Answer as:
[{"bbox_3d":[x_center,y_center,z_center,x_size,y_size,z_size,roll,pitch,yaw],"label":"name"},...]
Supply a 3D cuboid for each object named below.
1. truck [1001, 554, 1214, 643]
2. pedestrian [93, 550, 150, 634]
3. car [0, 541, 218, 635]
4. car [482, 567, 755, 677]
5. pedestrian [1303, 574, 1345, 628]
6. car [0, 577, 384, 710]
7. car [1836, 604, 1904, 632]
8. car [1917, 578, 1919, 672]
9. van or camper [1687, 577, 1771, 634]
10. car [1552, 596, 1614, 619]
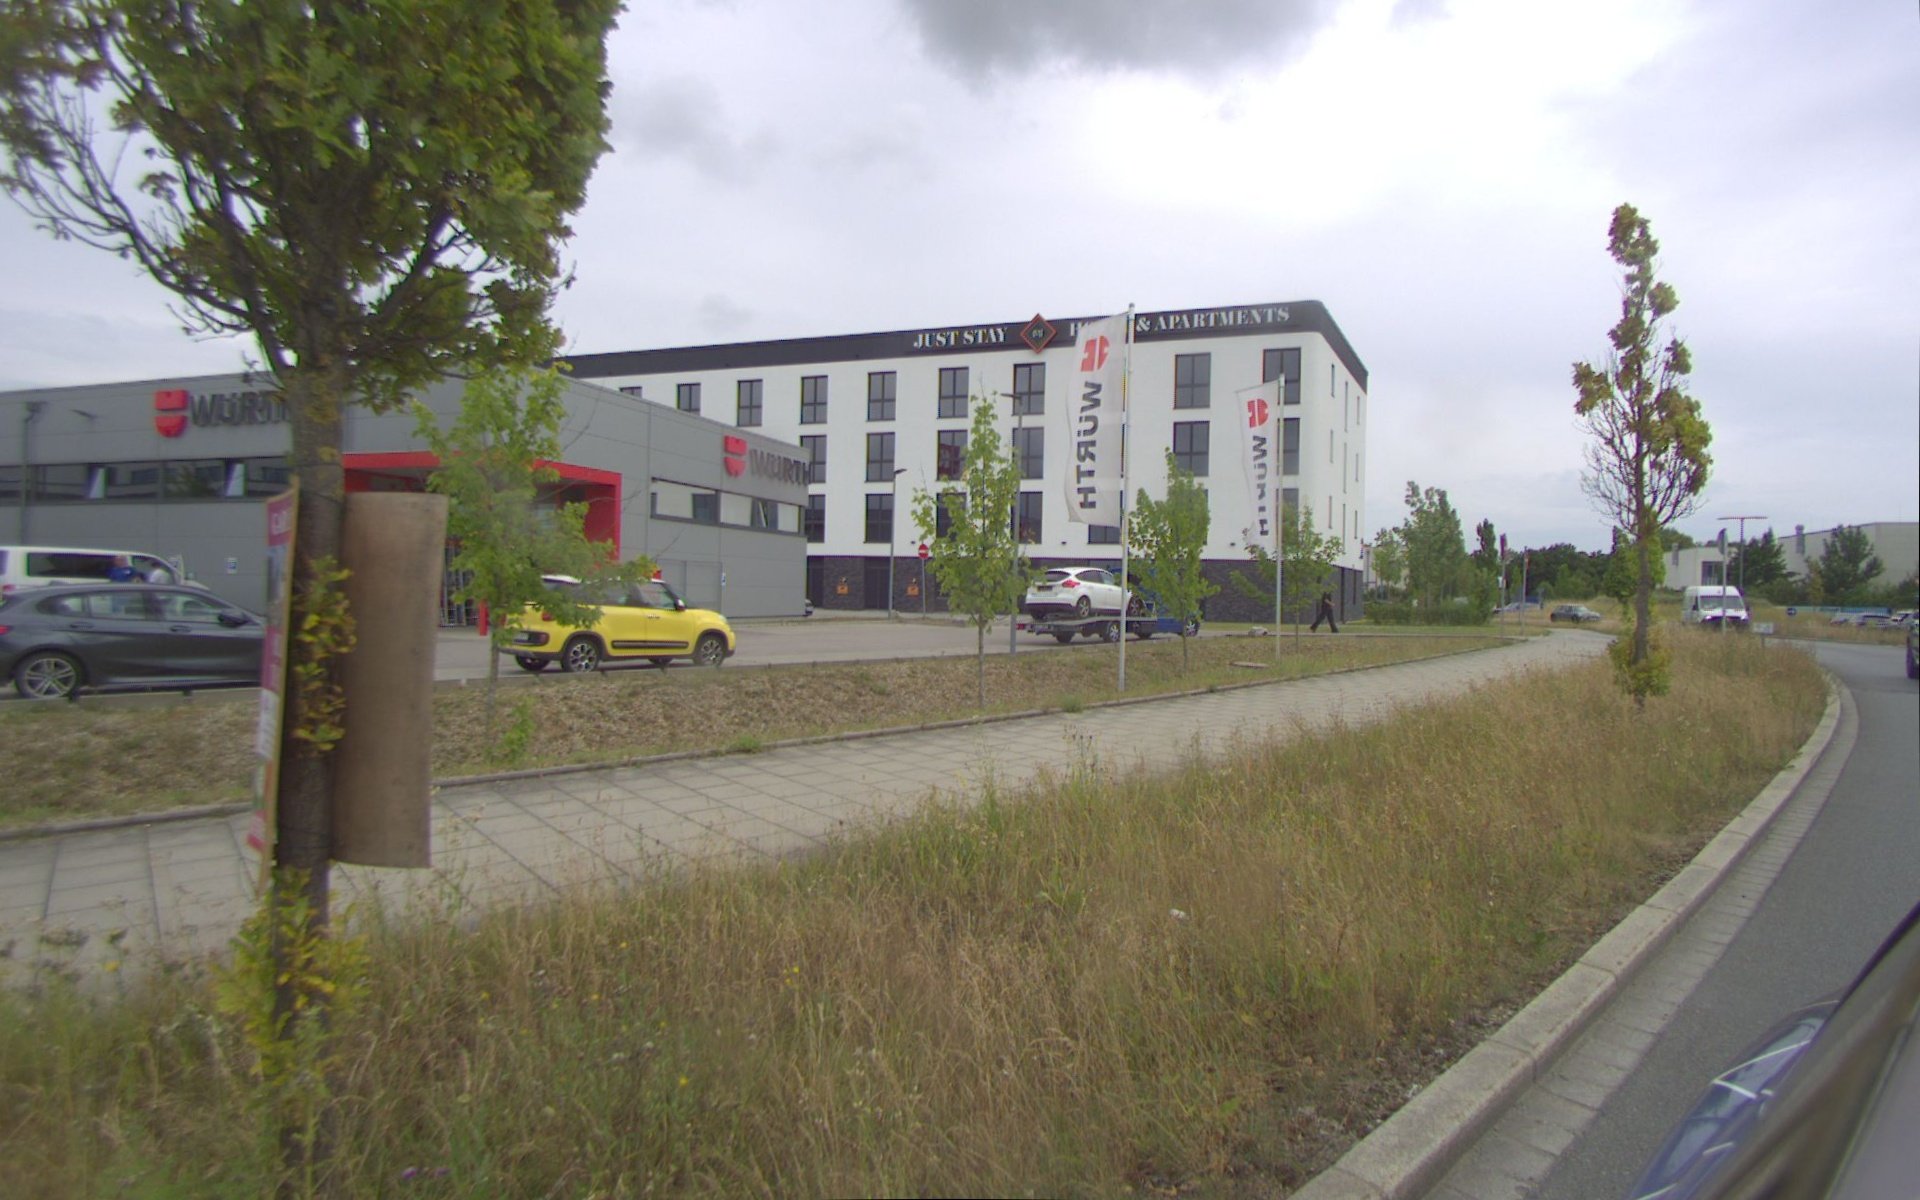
[{"bbox_3d":[4.709,-0.069,30.696,2.226,2.355,8.087,1,1,43],"label":"truck"},{"bbox_3d":[-19.432,-0.187,23.462,0.605,1.892,0.799,1,0,12],"label":"pedestrian"},{"bbox_3d":[-20.775,-0.287,24.196,1.974,2.012,4.608,1,1,19],"label":"car"},{"bbox_3d":[-5.903,0.325,17.969,1.759,1.707,4.349,1,1,39],"label":"car"},{"bbox_3d":[13.047,0.023,36.277,1.187,1.880,1.062,1,2,34],"label":"pedestrian"},{"bbox_3d":[-10.612,0.462,13.716,4.533,1.515,1.995,-2,2,-45],"label":"car"},{"bbox_3d":[47.214,0.919,52.567,1.773,1.338,3.959,0,1,29],"label":"car"},{"bbox_3d":[17.075,0.462,16.353,1.990,1.685,3.944,0,0,39],"label":"car"},{"bbox_3d":[38.690,0.225,51.068,2.243,2.649,5.646,1,1,26],"label":"van or camper"},{"bbox_3d":[44.482,0.496,72.367,1.963,1.605,3.999,0,1,1],"label":"car"}]
